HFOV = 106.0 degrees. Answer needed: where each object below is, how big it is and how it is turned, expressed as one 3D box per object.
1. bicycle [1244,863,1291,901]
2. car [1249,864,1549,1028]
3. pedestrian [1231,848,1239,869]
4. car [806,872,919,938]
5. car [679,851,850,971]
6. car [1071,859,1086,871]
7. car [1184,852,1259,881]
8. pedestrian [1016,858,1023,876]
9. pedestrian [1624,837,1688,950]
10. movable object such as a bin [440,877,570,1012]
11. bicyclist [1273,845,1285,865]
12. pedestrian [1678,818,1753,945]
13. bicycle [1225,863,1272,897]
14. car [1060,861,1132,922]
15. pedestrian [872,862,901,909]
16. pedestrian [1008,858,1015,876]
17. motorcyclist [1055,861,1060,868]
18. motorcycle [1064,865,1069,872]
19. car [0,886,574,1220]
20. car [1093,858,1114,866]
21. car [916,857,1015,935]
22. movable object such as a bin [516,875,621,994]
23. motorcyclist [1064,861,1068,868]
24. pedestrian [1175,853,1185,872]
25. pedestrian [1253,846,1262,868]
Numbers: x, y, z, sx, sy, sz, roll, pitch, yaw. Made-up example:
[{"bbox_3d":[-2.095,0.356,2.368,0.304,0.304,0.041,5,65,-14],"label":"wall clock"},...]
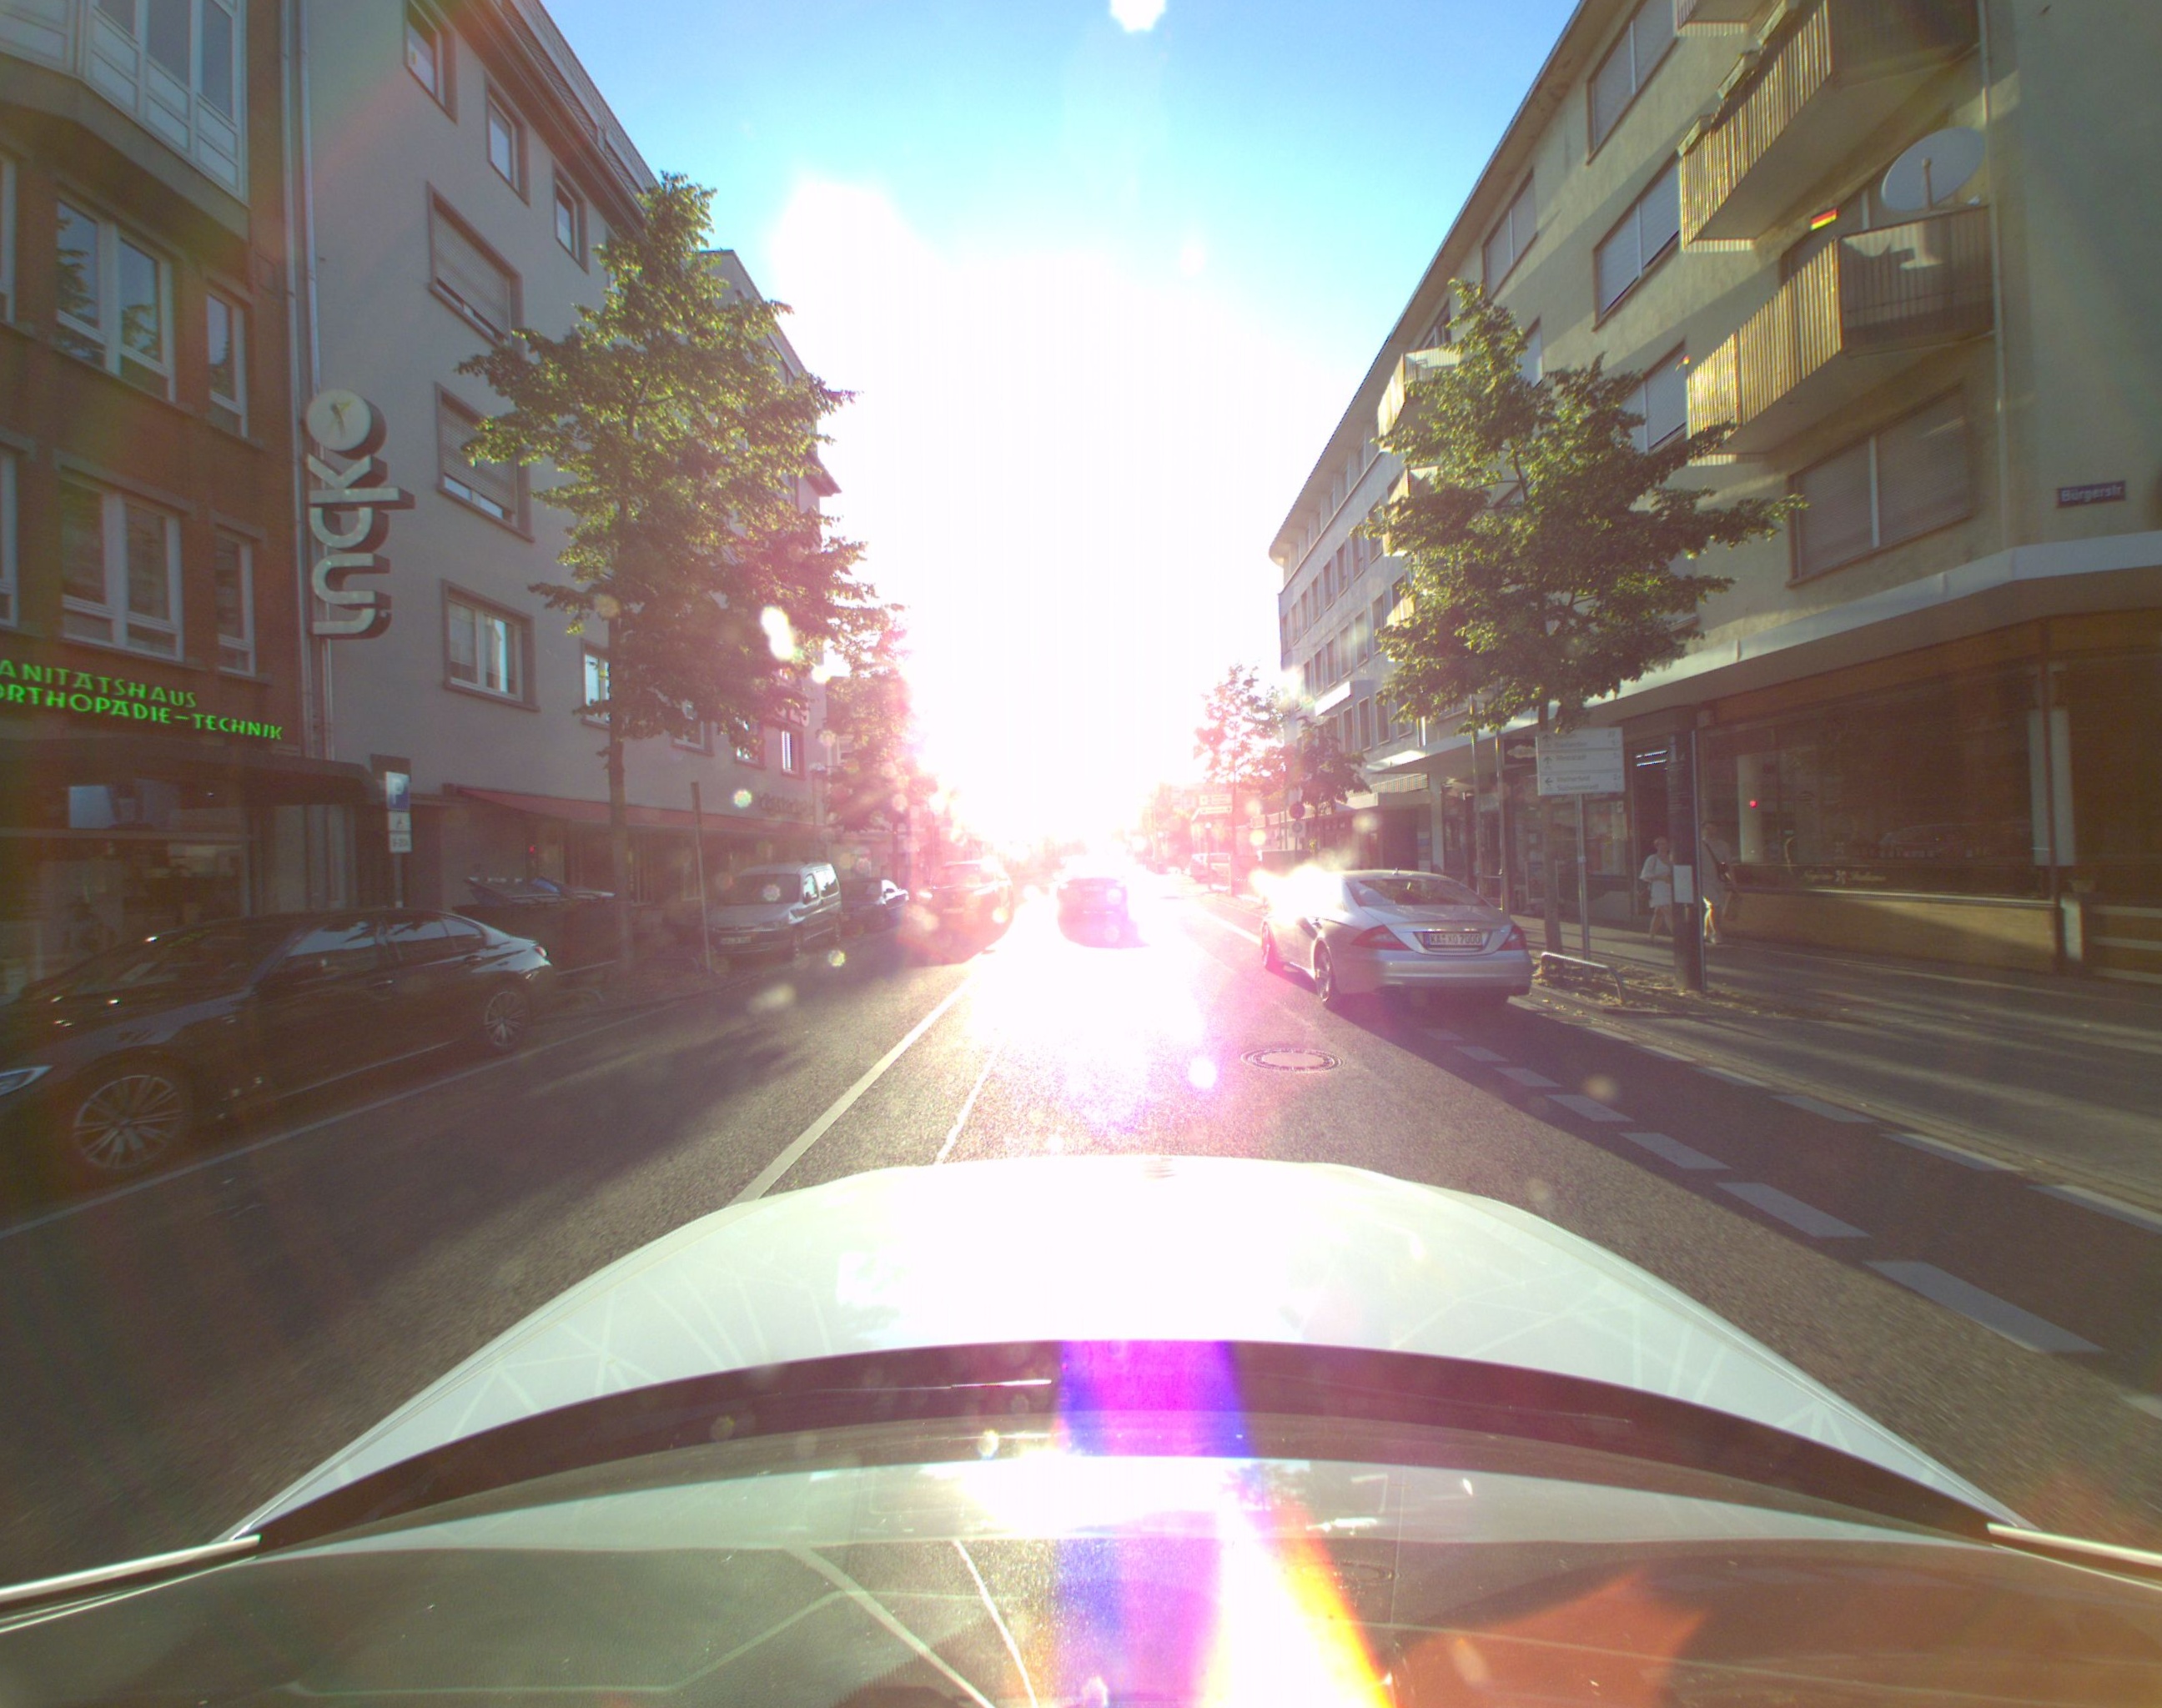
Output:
[{"bbox_3d":[6.118,0.924,26.724,1.435,1.220,0.383,0,-1,2],"label":"bicycle"},{"bbox_3d":[3.308,0.849,9.561,1.736,1.401,4.639,0,0,0],"label":"car"},{"bbox_3d":[12.510,0.363,66.293,0.444,1.735,0.430,0,-1,-24],"label":"pedestrian"},{"bbox_3d":[-5.703,1.282,21.802,1.717,1.416,4.280,-4,-1,1],"label":"car"},{"bbox_3d":[-5.873,0.976,15.666,1.664,1.887,4.051,-4,-1,-2],"label":"car"},{"bbox_3d":[-0.359,1.464,111.486,1.811,1.519,4.001,-2,0,1],"label":"car"},{"bbox_3d":[8.314,0.721,48.398,3.995,1.533,1.794,-2,0,-16],"label":"car"},{"bbox_3d":[-6.531,1.409,86.192,0.674,1.876,0.618,0,-1,1],"label":"pedestrian"},{"bbox_3d":[8.493,0.576,12.035,0.518,1.593,0.408,-5,-1,0],"label":"pedestrian"},{"bbox_3d":[-7.468,1.121,10.635,0.779,1.620,1.336,0,-1,-3],"label":"movable object such as a bin"},{"bbox_3d":[15.263,0.083,62.719,0.713,1.481,0.555,-1,-1,30],"label":"bicyclist"},{"bbox_3d":[9.195,0.394,11.817,0.541,1.758,0.502,-5,-1,0],"label":"pedestrian"},{"bbox_3d":[6.148,0.942,29.872,1.606,1.171,0.319,-2,-1,2],"label":"bicycle"},{"bbox_3d":[0.371,0.932,21.956,1.731,1.429,4.223,-1,0,0],"label":"car"},{"bbox_3d":[-8.056,1.306,33.701,1.004,1.860,0.636,-3,0,-19],"label":"pedestrian"},{"bbox_3d":[-7.326,1.413,86.023,0.641,1.876,0.632,0,-1,1],"label":"pedestrian"},{"bbox_3d":[-3.257,1.454,111.785,0.573,0.915,2.201,0,-1,2],"label":"motorcyclist"},{"bbox_3d":[-2.000,1.971,111.074,0.573,0.915,2.201,0,-1,2],"label":"motorcycle"},{"bbox_3d":[-6.117,1.116,6.006,1.714,1.472,4.542,-4,0,1],"label":"car"},{"bbox_3d":[4.849,1.663,174.979,4.013,1.519,1.805,-2,-1,-31],"label":"car"},{"bbox_3d":[-2.775,0.943,20.487,1.724,1.675,4.296,-3,0,1],"label":"car"},{"bbox_3d":[-7.478,1.135,11.943,0.779,1.620,1.207,0,-1,-3],"label":"movable object such as a bin"},{"bbox_3d":[-2.017,1.439,111.067,0.573,0.995,0.703,0,-1,1],"label":"motorcyclist"},{"bbox_3d":[8.186,0.694,67.279,0.733,1.529,0.470,0,-1,-13],"label":"pedestrian"},{"bbox_3d":[14.284,0.229,65.978,0.480,1.735,0.527,0,-1,-24],"label":"pedestrian"}]
